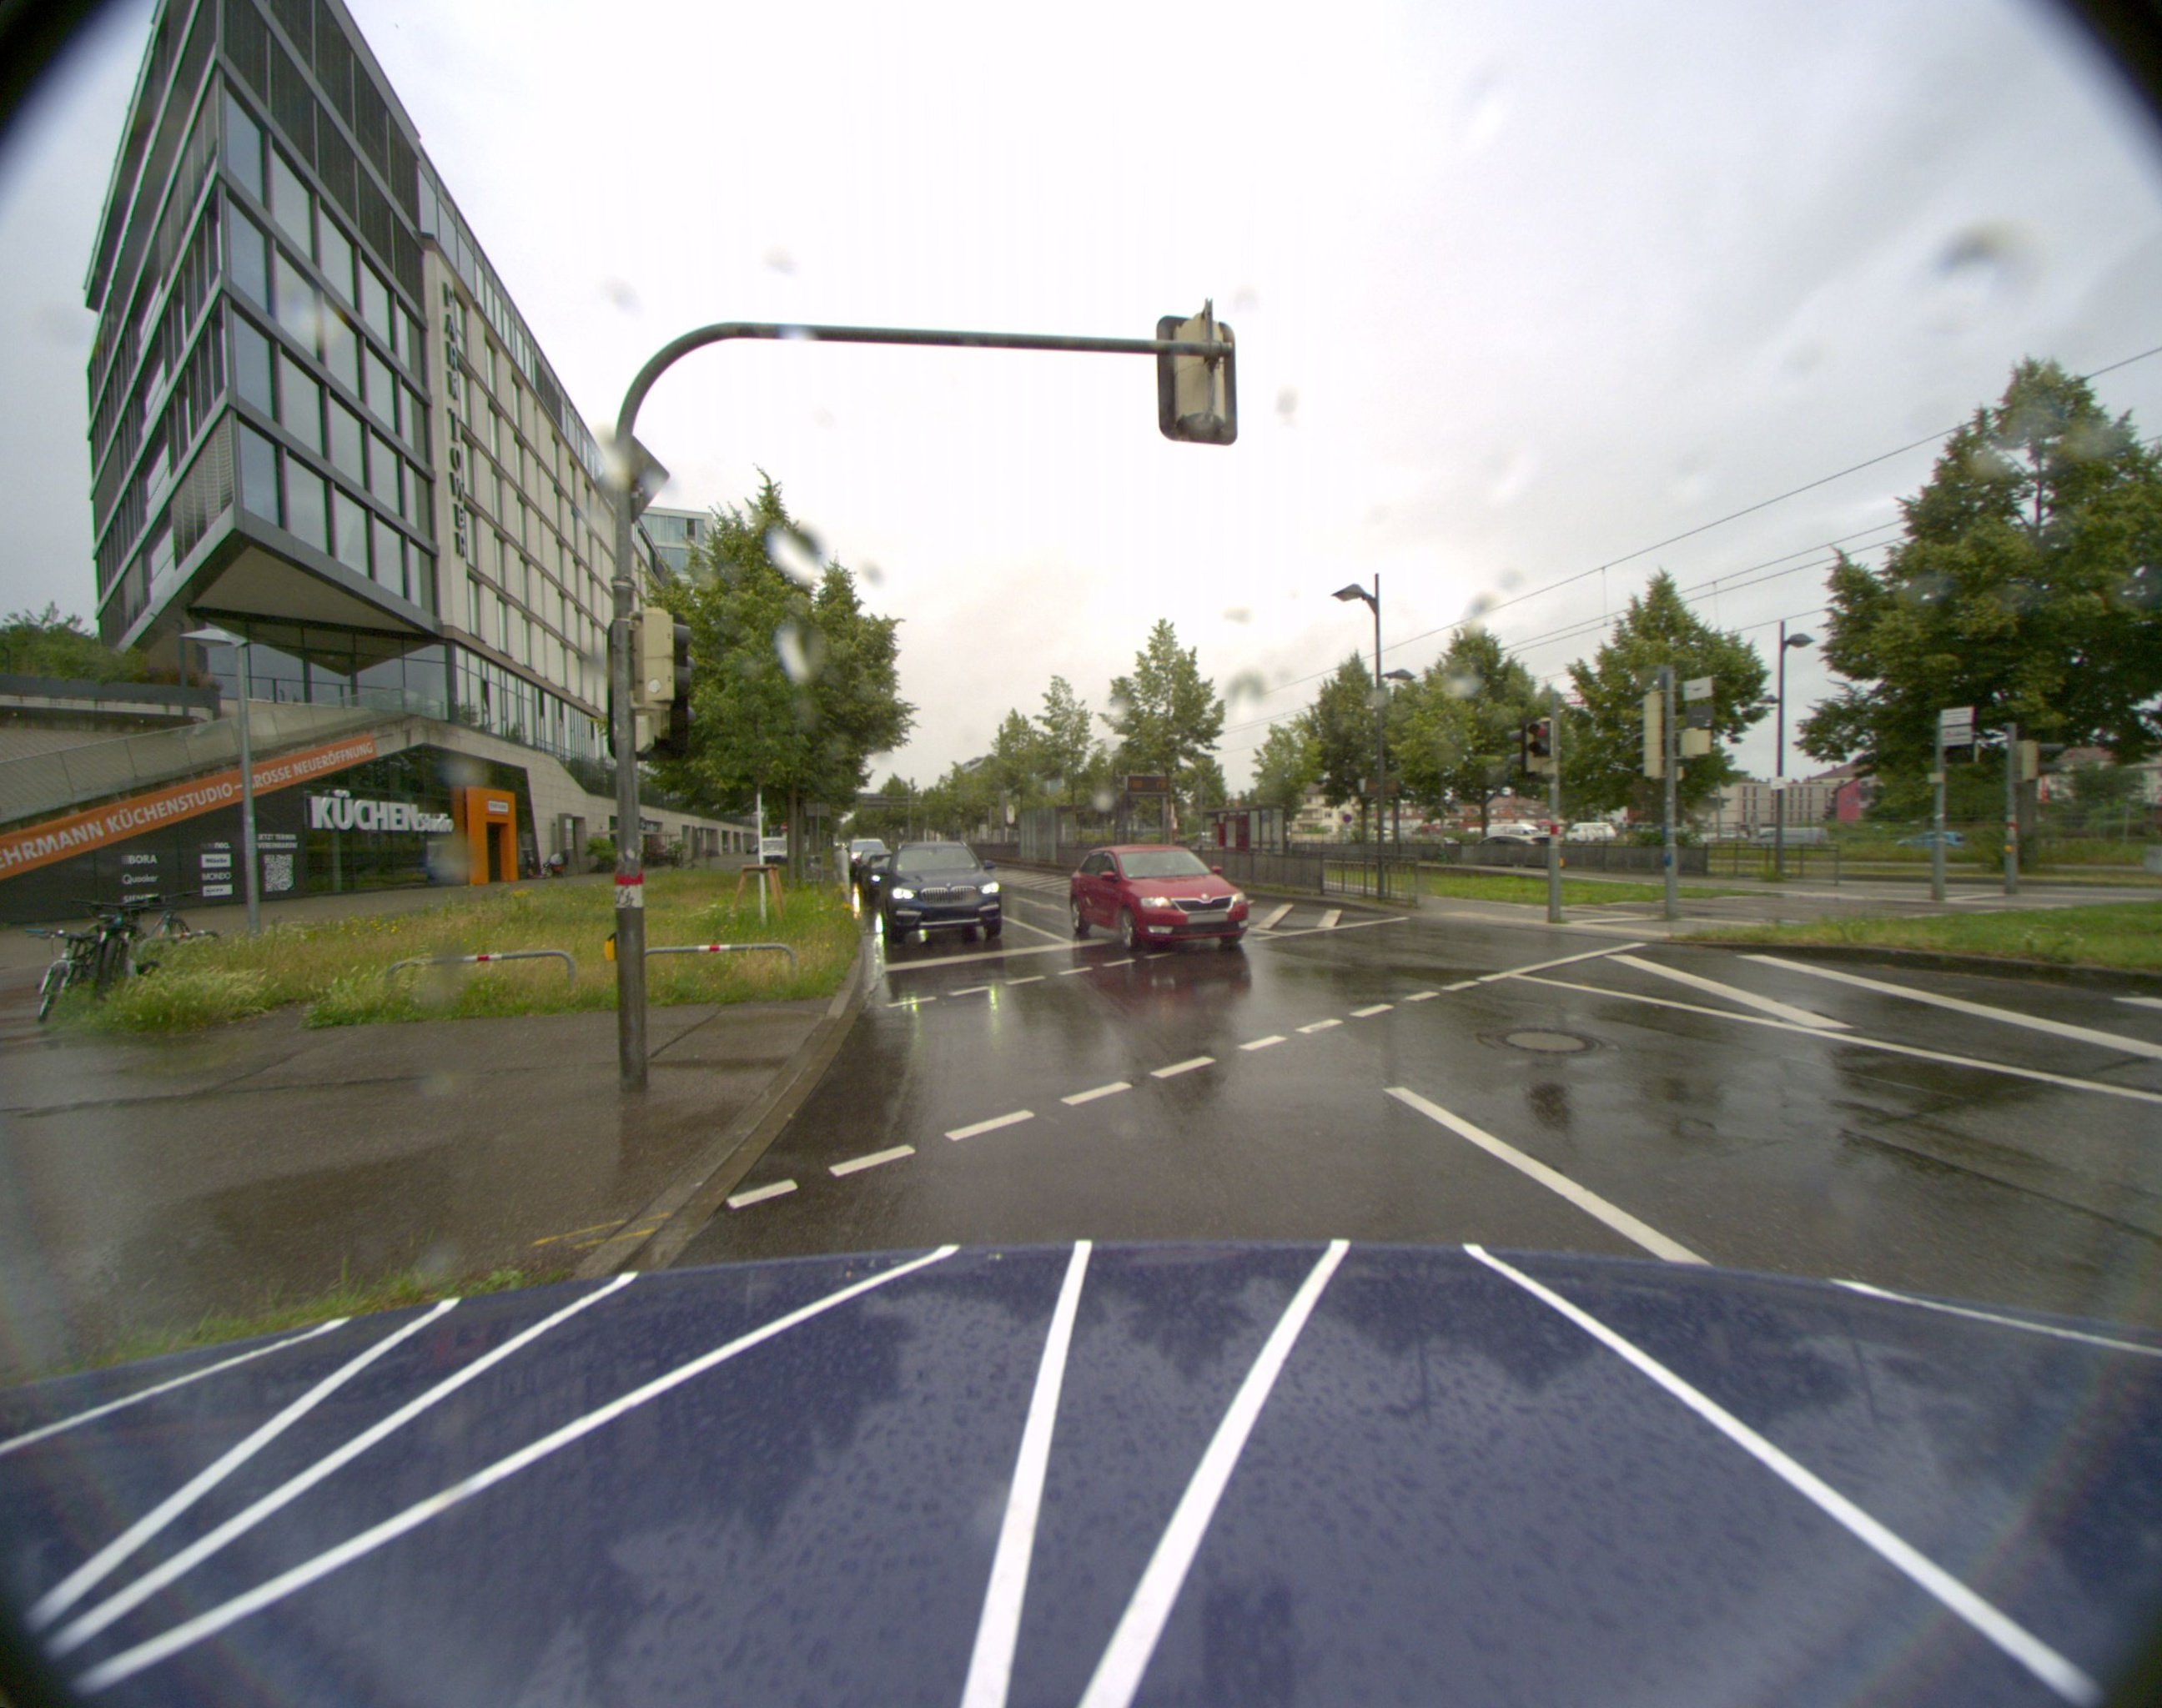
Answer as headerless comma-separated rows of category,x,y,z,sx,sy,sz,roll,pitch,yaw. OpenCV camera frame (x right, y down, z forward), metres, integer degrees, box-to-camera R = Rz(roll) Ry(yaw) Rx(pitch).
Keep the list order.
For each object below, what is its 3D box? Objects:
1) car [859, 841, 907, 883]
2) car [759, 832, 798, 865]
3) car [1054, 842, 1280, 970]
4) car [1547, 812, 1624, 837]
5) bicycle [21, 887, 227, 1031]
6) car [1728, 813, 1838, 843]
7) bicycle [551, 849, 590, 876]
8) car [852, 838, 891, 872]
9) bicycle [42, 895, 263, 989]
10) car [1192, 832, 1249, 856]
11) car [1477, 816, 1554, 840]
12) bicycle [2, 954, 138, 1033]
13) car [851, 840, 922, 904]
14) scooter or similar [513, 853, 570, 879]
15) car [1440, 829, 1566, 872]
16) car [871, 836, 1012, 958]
car,-8.954,0.302,34.202,1.790,1.639,3.993,-4,2,-17
car,-21.922,-0.429,55.208,2.087,2.190,5.088,-4,3,-17
car,1.054,0.599,11.627,1.790,1.451,4.307,-4,2,-17
car,55.730,-3.224,84.137,2.503,2.463,6.823,-4,3,-21
bicycle,-9.051,0.921,7.163,2.519,1.182,0.554,-1,2,24
car,62.063,-2.266,67.359,2.360,2.462,6.819,-2,2,-31
bicycle,-27.279,0.421,40.666,0.883,1.340,2.692,-4,3,-17
car,-11.402,-0.017,41.220,1.790,1.639,3.993,-4,2,-17
bicycle,-11.100,0.998,9.217,0.637,0.842,2.160,-2,1,-20
car,9.644,-0.706,52.958,1.832,1.478,4.618,-4,2,-18
car,48.415,-2.848,84.912,2.359,2.463,7.624,-4,3,-21
bicycle,-9.126,1.230,6.846,1.798,0.555,0.321,-1,2,24
car,-6.192,0.477,24.503,1.918,1.737,4.377,-4,2,-12
scooter or similar,-26.556,0.577,37.468,0.812,1.093,2.613,-3,2,1
car,16.717,-0.186,30.321,1.853,1.478,4.218,-4,3,-19
car,-2.709,0.596,13.845,1.919,1.737,4.375,-4,2,-17
